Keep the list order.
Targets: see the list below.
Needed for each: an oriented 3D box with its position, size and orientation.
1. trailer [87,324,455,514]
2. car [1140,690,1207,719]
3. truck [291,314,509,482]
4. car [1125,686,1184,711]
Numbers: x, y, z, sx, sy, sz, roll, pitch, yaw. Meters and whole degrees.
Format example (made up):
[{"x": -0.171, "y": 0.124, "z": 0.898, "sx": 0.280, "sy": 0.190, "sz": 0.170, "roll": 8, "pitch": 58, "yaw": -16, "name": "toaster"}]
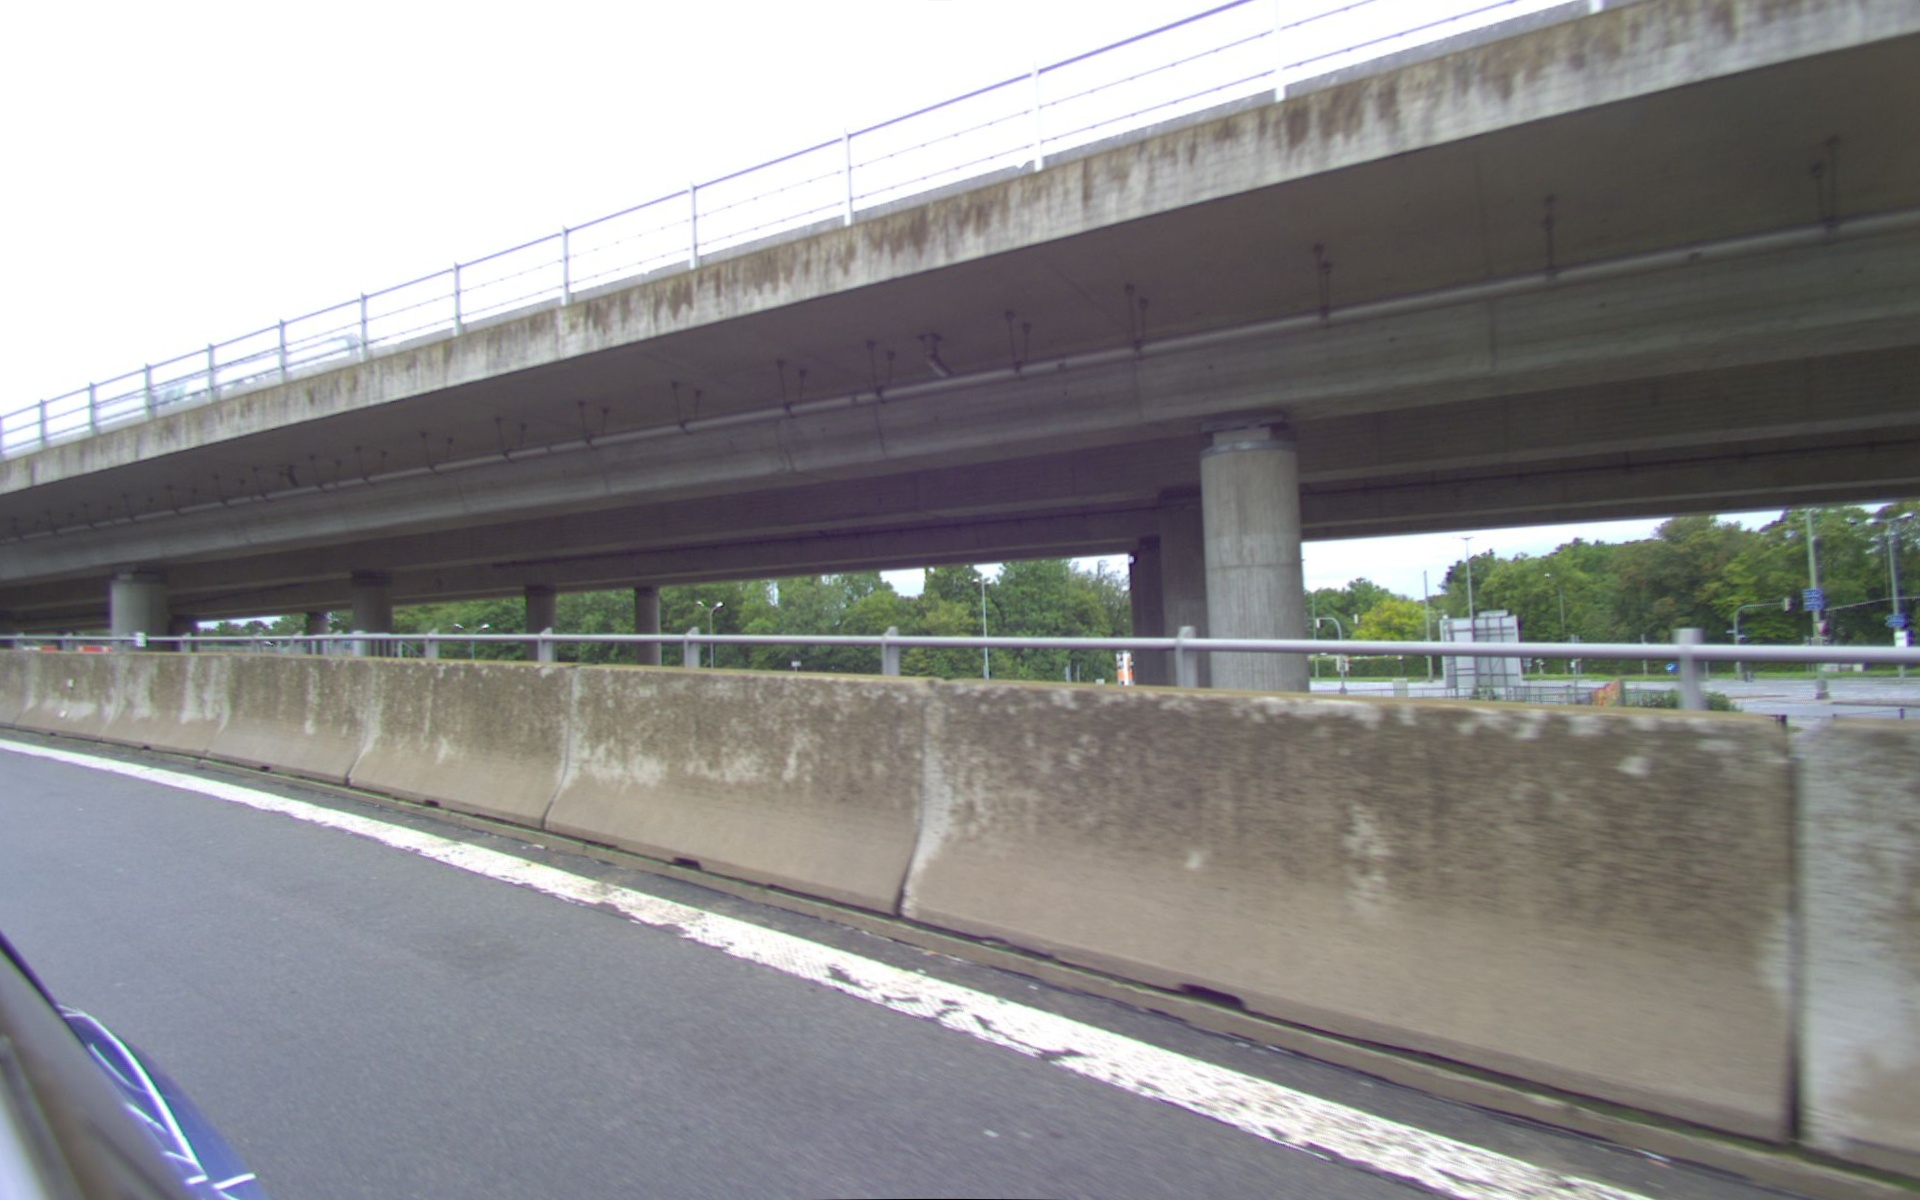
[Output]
[{"x": -20.947, "y": -5.010, "z": 30.228, "sx": 13.987, "sy": 3.323, "sz": 2.642, "roll": -4, "pitch": -2, "yaw": 27, "name": "trailer"}, {"x": 14.986, "y": 7.309, "z": 70.950, "sx": 4.333, "sy": 1.763, "sz": 1.798, "roll": -3, "pitch": 0, "yaw": 20, "name": "car"}, {"x": -15.110, "y": -5.267, "z": 27.295, "sx": 5.166, "sy": 3.270, "sz": 2.574, "roll": -4, "pitch": -2, "yaw": 26, "name": "truck"}, {"x": 14.419, "y": 7.321, "z": 75.049, "sx": 3.970, "sy": 1.630, "sz": 1.837, "roll": -3, "pitch": 0, "yaw": 20, "name": "car"}]
